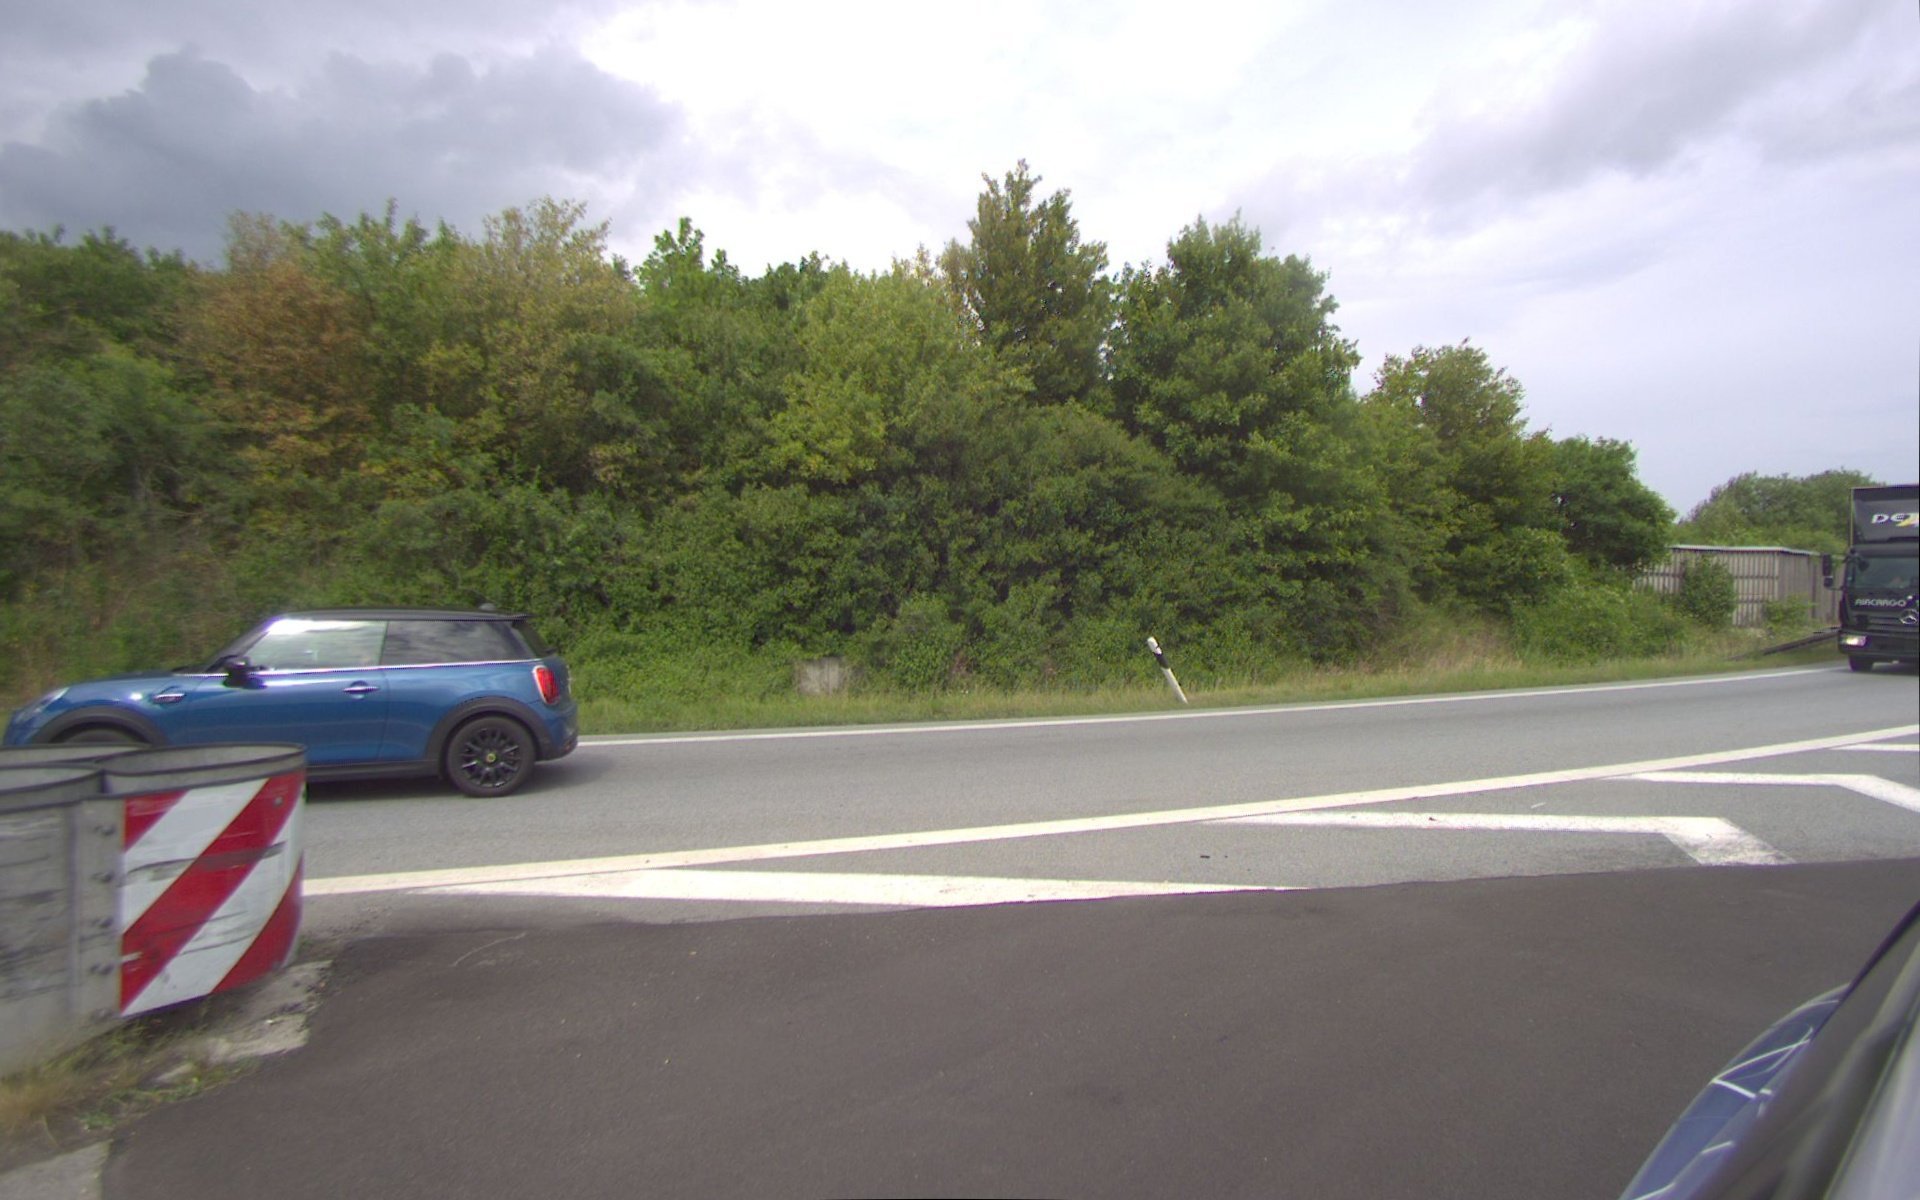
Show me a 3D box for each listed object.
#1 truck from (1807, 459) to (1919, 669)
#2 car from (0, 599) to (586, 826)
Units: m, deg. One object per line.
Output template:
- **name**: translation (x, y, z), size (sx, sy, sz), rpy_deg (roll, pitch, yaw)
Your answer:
- **truck**: translation (22.300, -0.718, 22.428), size (10.146, 4.004, 3.026), rpy_deg (0, 0, -36)
- **car**: translation (-4.910, 0.736, 8.001), size (3.588, 1.437, 1.738), rpy_deg (-1, 0, -18)
